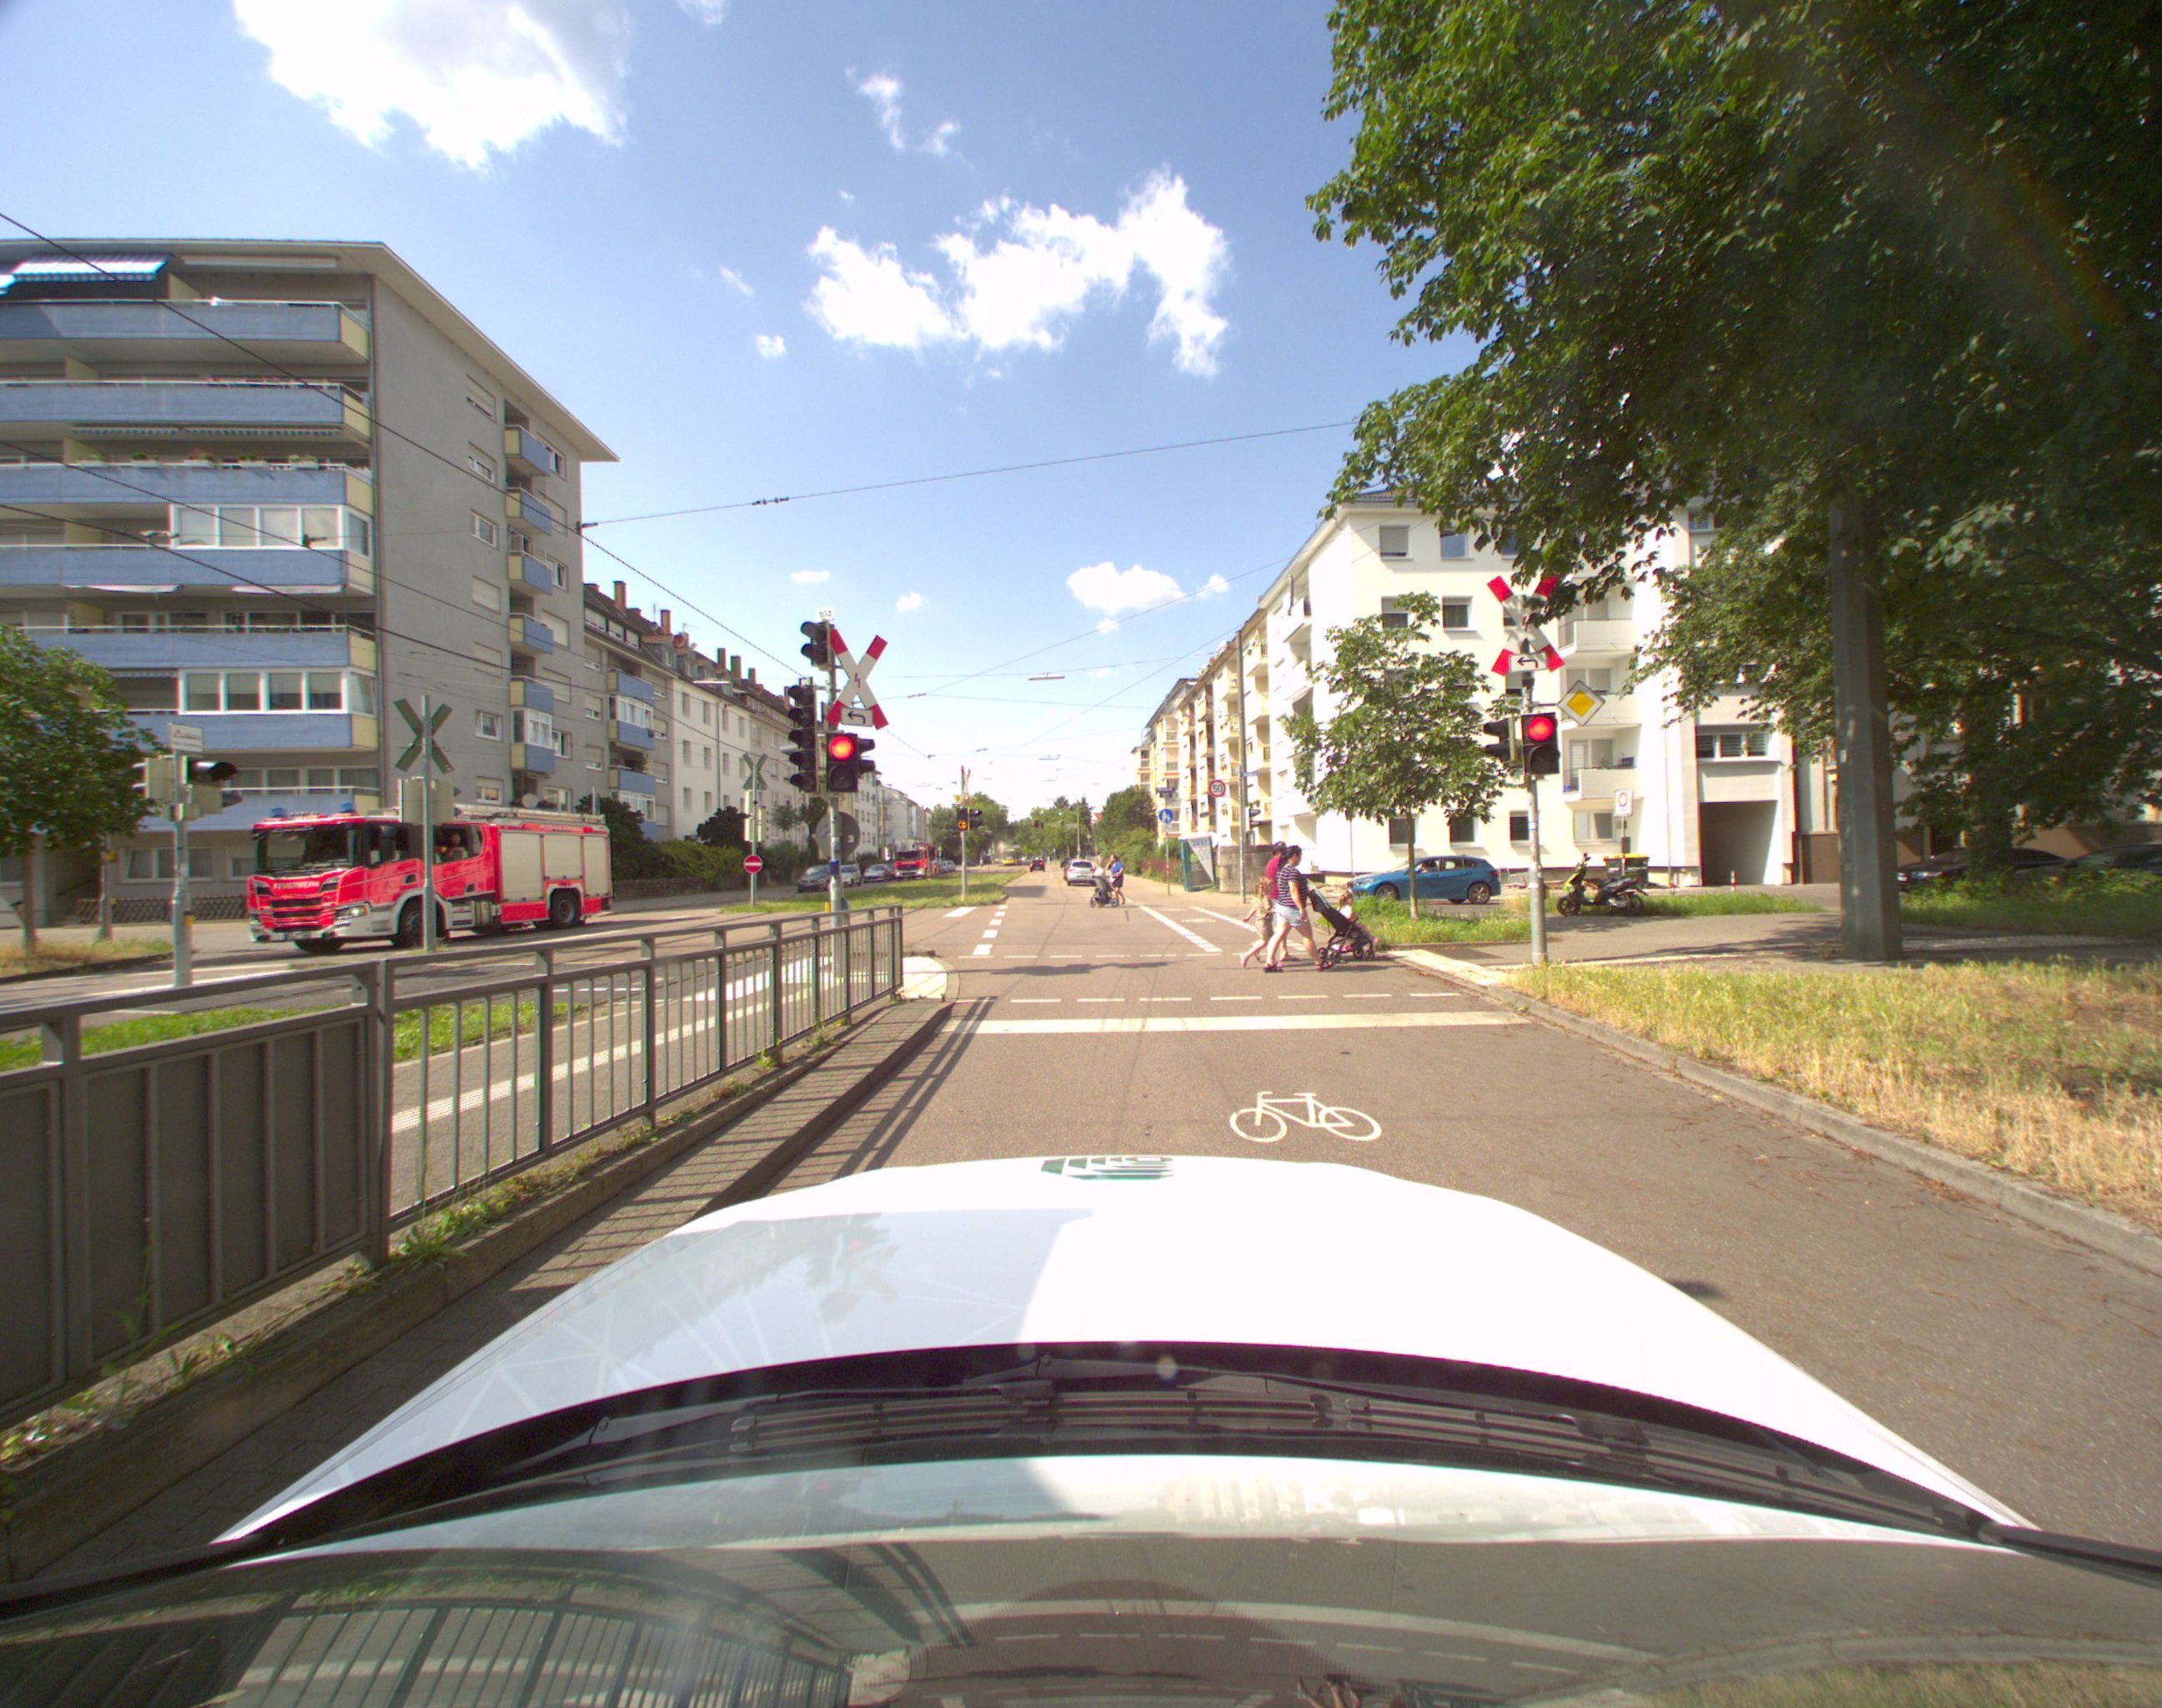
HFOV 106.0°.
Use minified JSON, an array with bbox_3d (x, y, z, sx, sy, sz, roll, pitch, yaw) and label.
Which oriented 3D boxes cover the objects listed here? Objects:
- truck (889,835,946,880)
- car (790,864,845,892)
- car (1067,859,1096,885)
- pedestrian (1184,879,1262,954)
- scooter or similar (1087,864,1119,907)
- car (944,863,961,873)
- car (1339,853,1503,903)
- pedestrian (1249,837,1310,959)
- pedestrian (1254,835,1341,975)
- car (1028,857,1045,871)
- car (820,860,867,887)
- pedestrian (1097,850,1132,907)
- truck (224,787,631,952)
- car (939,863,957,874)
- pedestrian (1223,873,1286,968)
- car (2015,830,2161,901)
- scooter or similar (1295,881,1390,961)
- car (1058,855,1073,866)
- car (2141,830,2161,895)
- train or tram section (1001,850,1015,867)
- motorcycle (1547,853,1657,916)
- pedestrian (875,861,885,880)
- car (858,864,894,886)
[{"bbox_3d":[-13.531,0.330,68.114,2.658,3.471,10.166,0,-1,0],"label":"truck"},{"bbox_3d":[-15.780,1.399,48.981,1.987,1.645,3.999,0,-1,0],"label":"car"},{"bbox_3d":[0.017,1.037,48.413,1.617,1.465,3.509,0,-1,-1],"label":"car"},{"bbox_3d":[4.250,1.827,25.012,1.984,2.014,4.004,0,-1,4],"label":"pedestrian"},{"bbox_3d":[0.696,0.986,25.706,0.656,1.304,0.873,1,-1,27],"label":"scooter or similar"},{"bbox_3d":[-17.260,1.880,109.411,1.842,1.368,3.996,0,-1,-3],"label":"car"},{"bbox_3d":[9.971,0.697,24.113,4.151,1.413,1.781,0,-1,1],"label":"car"},{"bbox_3d":[2.754,0.593,11.346,0.703,1.648,0.637,0,-1,0],"label":"pedestrian"},{"bbox_3d":[2.693,0.620,10.216,0.842,1.667,0.799,-2,-1,1],"label":"pedestrian"},{"bbox_3d":[-5.086,1.128,93.423,1.739,1.507,3.997,0,-1,-1],"label":"car"},{"bbox_3d":[-16.005,1.287,55.089,1.987,1.711,3.999,0,-1,0],"label":"car"},{"bbox_3d":[1.086,0.786,26.441,0.694,1.790,1.036,1,-2,28],"label":"pedestrian"},{"bbox_3d":[-15.039,0.344,20.010,2.583,3.186,8.395,0,-1,6],"label":"truck"},{"bbox_3d":[-17.026,1.825,104.429,1.842,1.368,3.996,0,-1,-3],"label":"car"},{"bbox_3d":[2.280,0.854,10.775,0.634,1.180,0.799,-2,-1,1],"label":"pedestrian"},{"bbox_3d":[23.220,0.216,17.503,1.733,1.459,4.001,-2,0,1],"label":"car"},{"bbox_3d":[3.603,0.909,11.285,1.097,1.056,0.650,0,-1,-2],"label":"scooter or similar"},{"bbox_3d":[-2.160,0.937,116.299,1.735,1.507,4.005,0,-1,5],"label":"car"},{"bbox_3d":[26.027,0.180,17.458,1.794,1.539,4.013,-2,0,11],"label":"car"},{"bbox_3d":[-13.760,0.822,154.420,2.254,3.069,8.122,-2,0,-4],"label":"train or tram section"},{"bbox_3d":[11.038,0.650,17.330,0.574,1.215,1.829,-6,1,-30],"label":"motorcycle"},{"bbox_3d":[-19.201,1.548,77.860,0.703,1.794,0.864,-2,0,-1],"label":"pedestrian"},{"bbox_3d":[-16.330,1.680,65.013,1.989,1.711,3.996,0,-1,-3],"label":"car"}]
